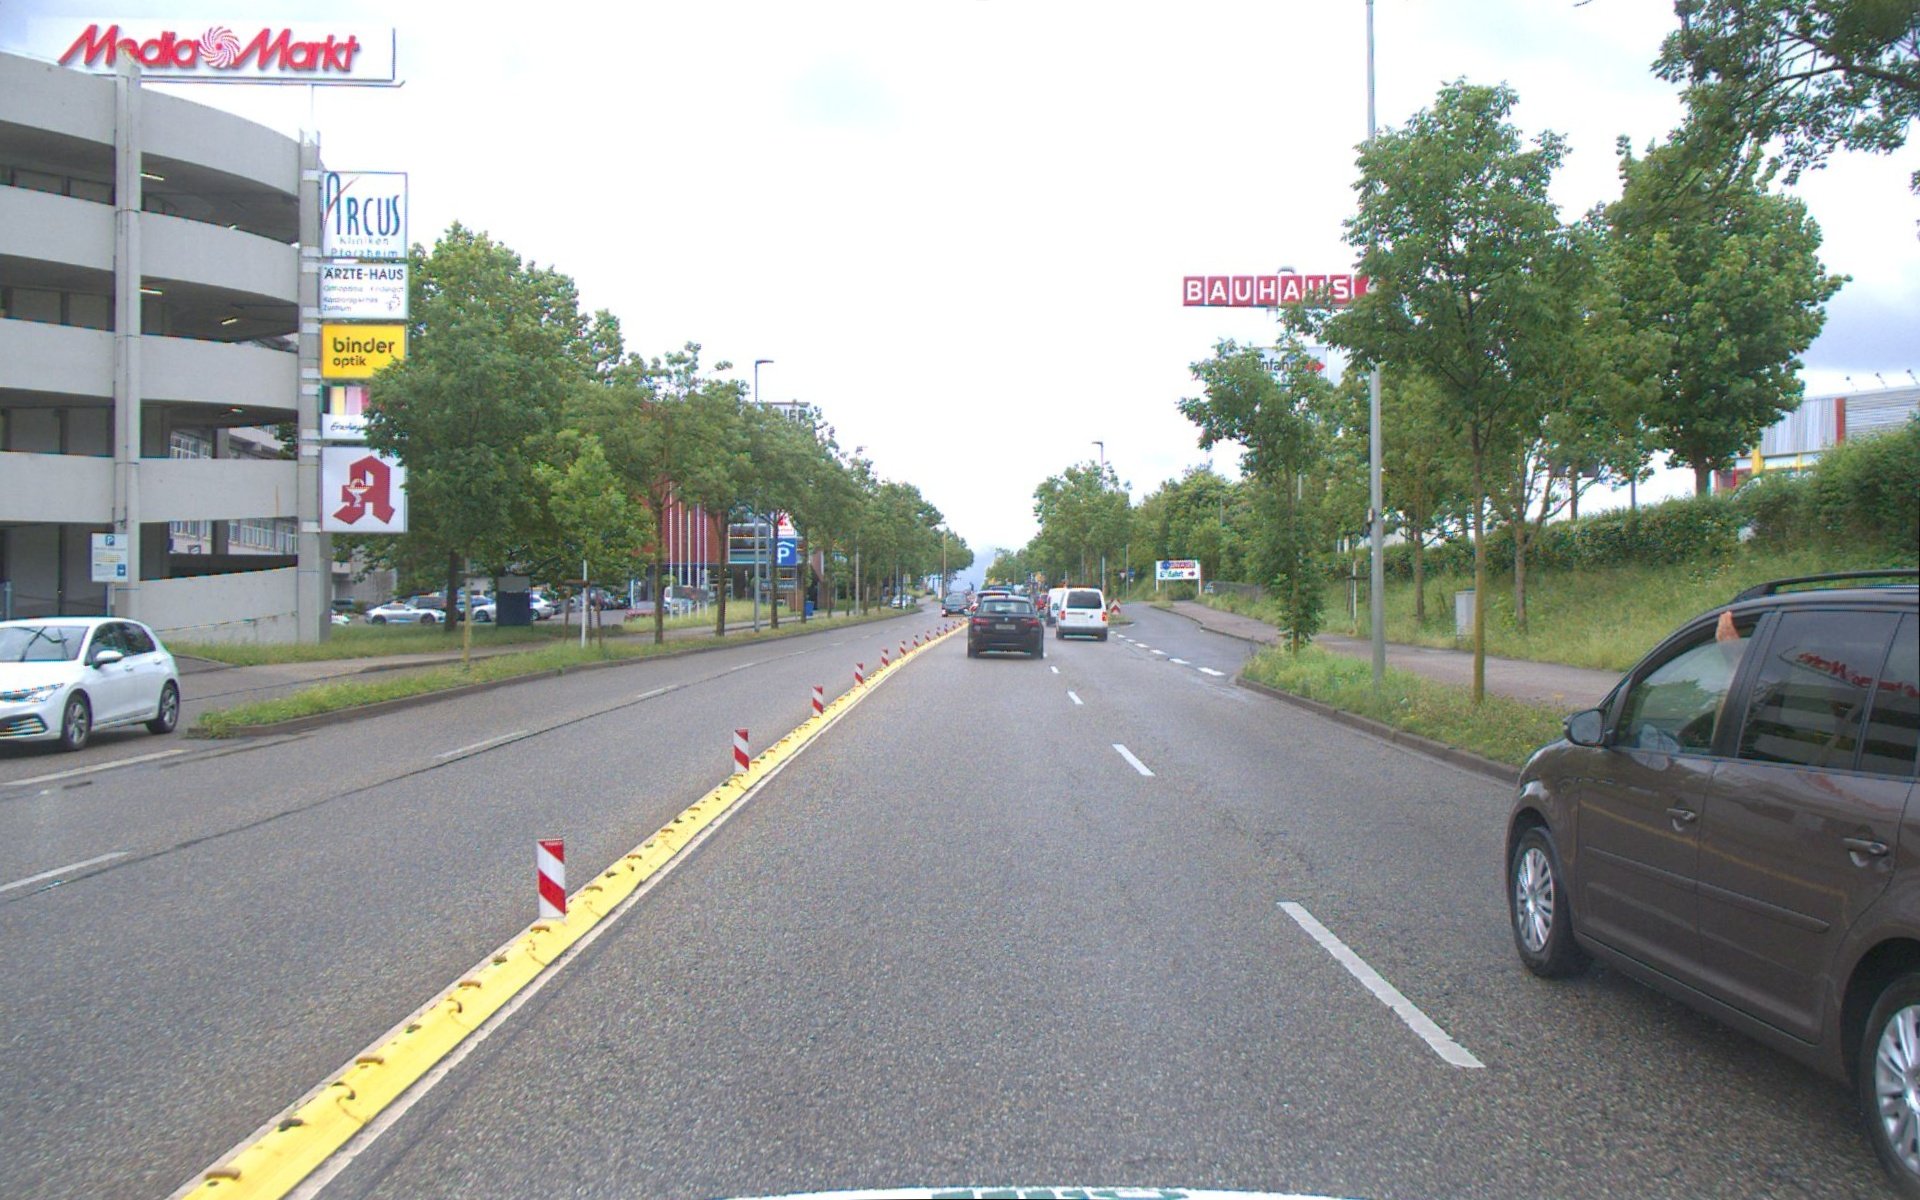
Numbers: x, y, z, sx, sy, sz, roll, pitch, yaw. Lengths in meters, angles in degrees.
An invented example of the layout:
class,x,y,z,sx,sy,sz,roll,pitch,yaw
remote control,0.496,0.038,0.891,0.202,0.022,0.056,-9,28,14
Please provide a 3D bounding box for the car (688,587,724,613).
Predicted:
class,x,y,z,sx,sy,sz,roll,pitch,yaw
car,-19.608,-0.028,127.838,2.094,1.804,4.608,1,2,0

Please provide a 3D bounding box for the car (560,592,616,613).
class,x,y,z,sx,sy,sz,roll,pitch,yaw
car,-28.581,0.192,127.198,4.030,1.536,1.817,1,1,-6

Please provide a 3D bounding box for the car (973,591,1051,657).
class,x,y,z,sx,sy,sz,roll,pitch,yaw
car,1.227,0.550,40.354,1.789,1.494,4.000,1,0,1

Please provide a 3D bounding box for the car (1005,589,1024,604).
class,x,y,z,sx,sy,sz,roll,pitch,yaw
car,5.848,-0.407,178.375,1.758,1.537,3.999,2,0,-1

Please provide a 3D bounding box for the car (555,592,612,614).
class,x,y,z,sx,sy,sz,roll,pitch,yaw
car,-28.416,0.206,124.965,4.030,1.536,1.817,1,1,-6

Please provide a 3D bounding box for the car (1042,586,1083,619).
class,x,y,z,sx,sy,sz,roll,pitch,yaw
car,4.981,0.134,80.844,1.757,1.537,4.000,2,0,1

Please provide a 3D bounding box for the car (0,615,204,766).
class,x,y,z,sx,sy,sz,roll,pitch,yaw
car,-10.455,0.961,18.910,1.862,1.433,4.420,-2,1,-5

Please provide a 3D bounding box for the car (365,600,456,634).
class,x,y,z,sx,sy,sz,roll,pitch,yaw
car,-30.556,0.934,92.111,4.514,1.776,1.963,1,1,-10

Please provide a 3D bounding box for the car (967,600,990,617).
class,x,y,z,sx,sy,sz,roll,pitch,yaw
car,1.568,0.730,142.401,1.725,1.450,4.182,-1,0,4

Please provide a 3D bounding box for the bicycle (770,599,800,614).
class,x,y,z,sx,sy,sz,roll,pitch,yaw
bicycle,-13.351,0.501,125.919,2.033,0.951,1.094,4,0,6

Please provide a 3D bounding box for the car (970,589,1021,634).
class,x,y,z,sx,sy,sz,roll,pitch,yaw
car,1.277,0.417,59.912,1.757,1.537,4.000,2,0,1

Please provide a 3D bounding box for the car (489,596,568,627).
class,x,y,z,sx,sy,sz,roll,pitch,yaw
car,-26.155,0.709,100.352,4.412,1.776,1.898,1,1,-6

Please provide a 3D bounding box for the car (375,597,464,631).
class,x,y,z,sx,sy,sz,roll,pitch,yaw
car,-31.015,0.799,95.013,4.514,1.776,2.129,1,1,-10

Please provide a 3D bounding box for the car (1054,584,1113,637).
class,x,y,z,sx,sy,sz,roll,pitch,yaw
car,4.346,0.351,58.796,1.789,1.789,4.000,2,0,1

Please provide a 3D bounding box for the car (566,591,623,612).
class,x,y,z,sx,sy,sz,roll,pitch,yaw
car,-28.516,0.089,129.187,4.110,1.536,1.817,1,1,-6

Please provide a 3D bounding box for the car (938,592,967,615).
class,x,y,z,sx,sy,sz,roll,pitch,yaw
car,-0.470,0.224,112.520,1.789,1.491,4.617,-1,0,2

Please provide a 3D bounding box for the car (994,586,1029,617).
class,x,y,z,sx,sy,sz,roll,pitch,yaw
car,2.699,0.096,87.342,1.757,1.537,4.000,2,0,1

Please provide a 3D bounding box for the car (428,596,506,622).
class,x,y,z,sx,sy,sz,roll,pitch,yaw
car,-31.602,0.598,106.139,4.521,1.536,2.023,1,1,-6

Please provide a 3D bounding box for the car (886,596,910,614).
class,x,y,z,sx,sy,sz,roll,pitch,yaw
car,-5.701,0.465,152.669,1.828,1.580,4.576,-3,0,2

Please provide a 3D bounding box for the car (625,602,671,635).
class,x,y,z,sx,sy,sz,roll,pitch,yaw
car,-17.424,1.019,92.613,1.894,1.637,4.709,1,2,-3

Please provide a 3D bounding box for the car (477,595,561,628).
class,x,y,z,sx,sy,sz,roll,pitch,yaw
car,-26.004,0.666,97.593,4.510,1.776,1.965,1,1,-6

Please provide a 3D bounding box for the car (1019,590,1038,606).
class,x,y,z,sx,sy,sz,roll,pitch,yaw
car,6.986,-0.171,168.147,1.757,1.537,4.000,2,0,1

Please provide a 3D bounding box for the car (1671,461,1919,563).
class,x,y,z,sx,sy,sz,roll,pitch,yaw
car,21.508,-2.247,42.547,5.499,2.179,2.119,-4,0,-6

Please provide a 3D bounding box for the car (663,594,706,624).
class,x,y,z,sx,sy,sz,roll,pitch,yaw
car,-17.803,0.560,107.139,1.998,1.792,4.945,1,2,-1

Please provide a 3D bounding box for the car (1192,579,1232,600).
class,x,y,z,sx,sy,sz,roll,pitch,yaw
car,20.011,-0.827,131.154,1.761,1.537,3.991,1,-1,30

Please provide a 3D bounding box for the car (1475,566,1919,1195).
class,x,y,z,sx,sy,sz,roll,pitch,yaw
car,3.253,0.726,5.439,1.651,1.608,4.217,1,0,-2

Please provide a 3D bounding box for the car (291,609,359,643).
class,x,y,z,sx,sy,sz,roll,pitch,yaw
car,-29.802,1.214,77.698,2.645,1.389,1.607,-2,2,-8
